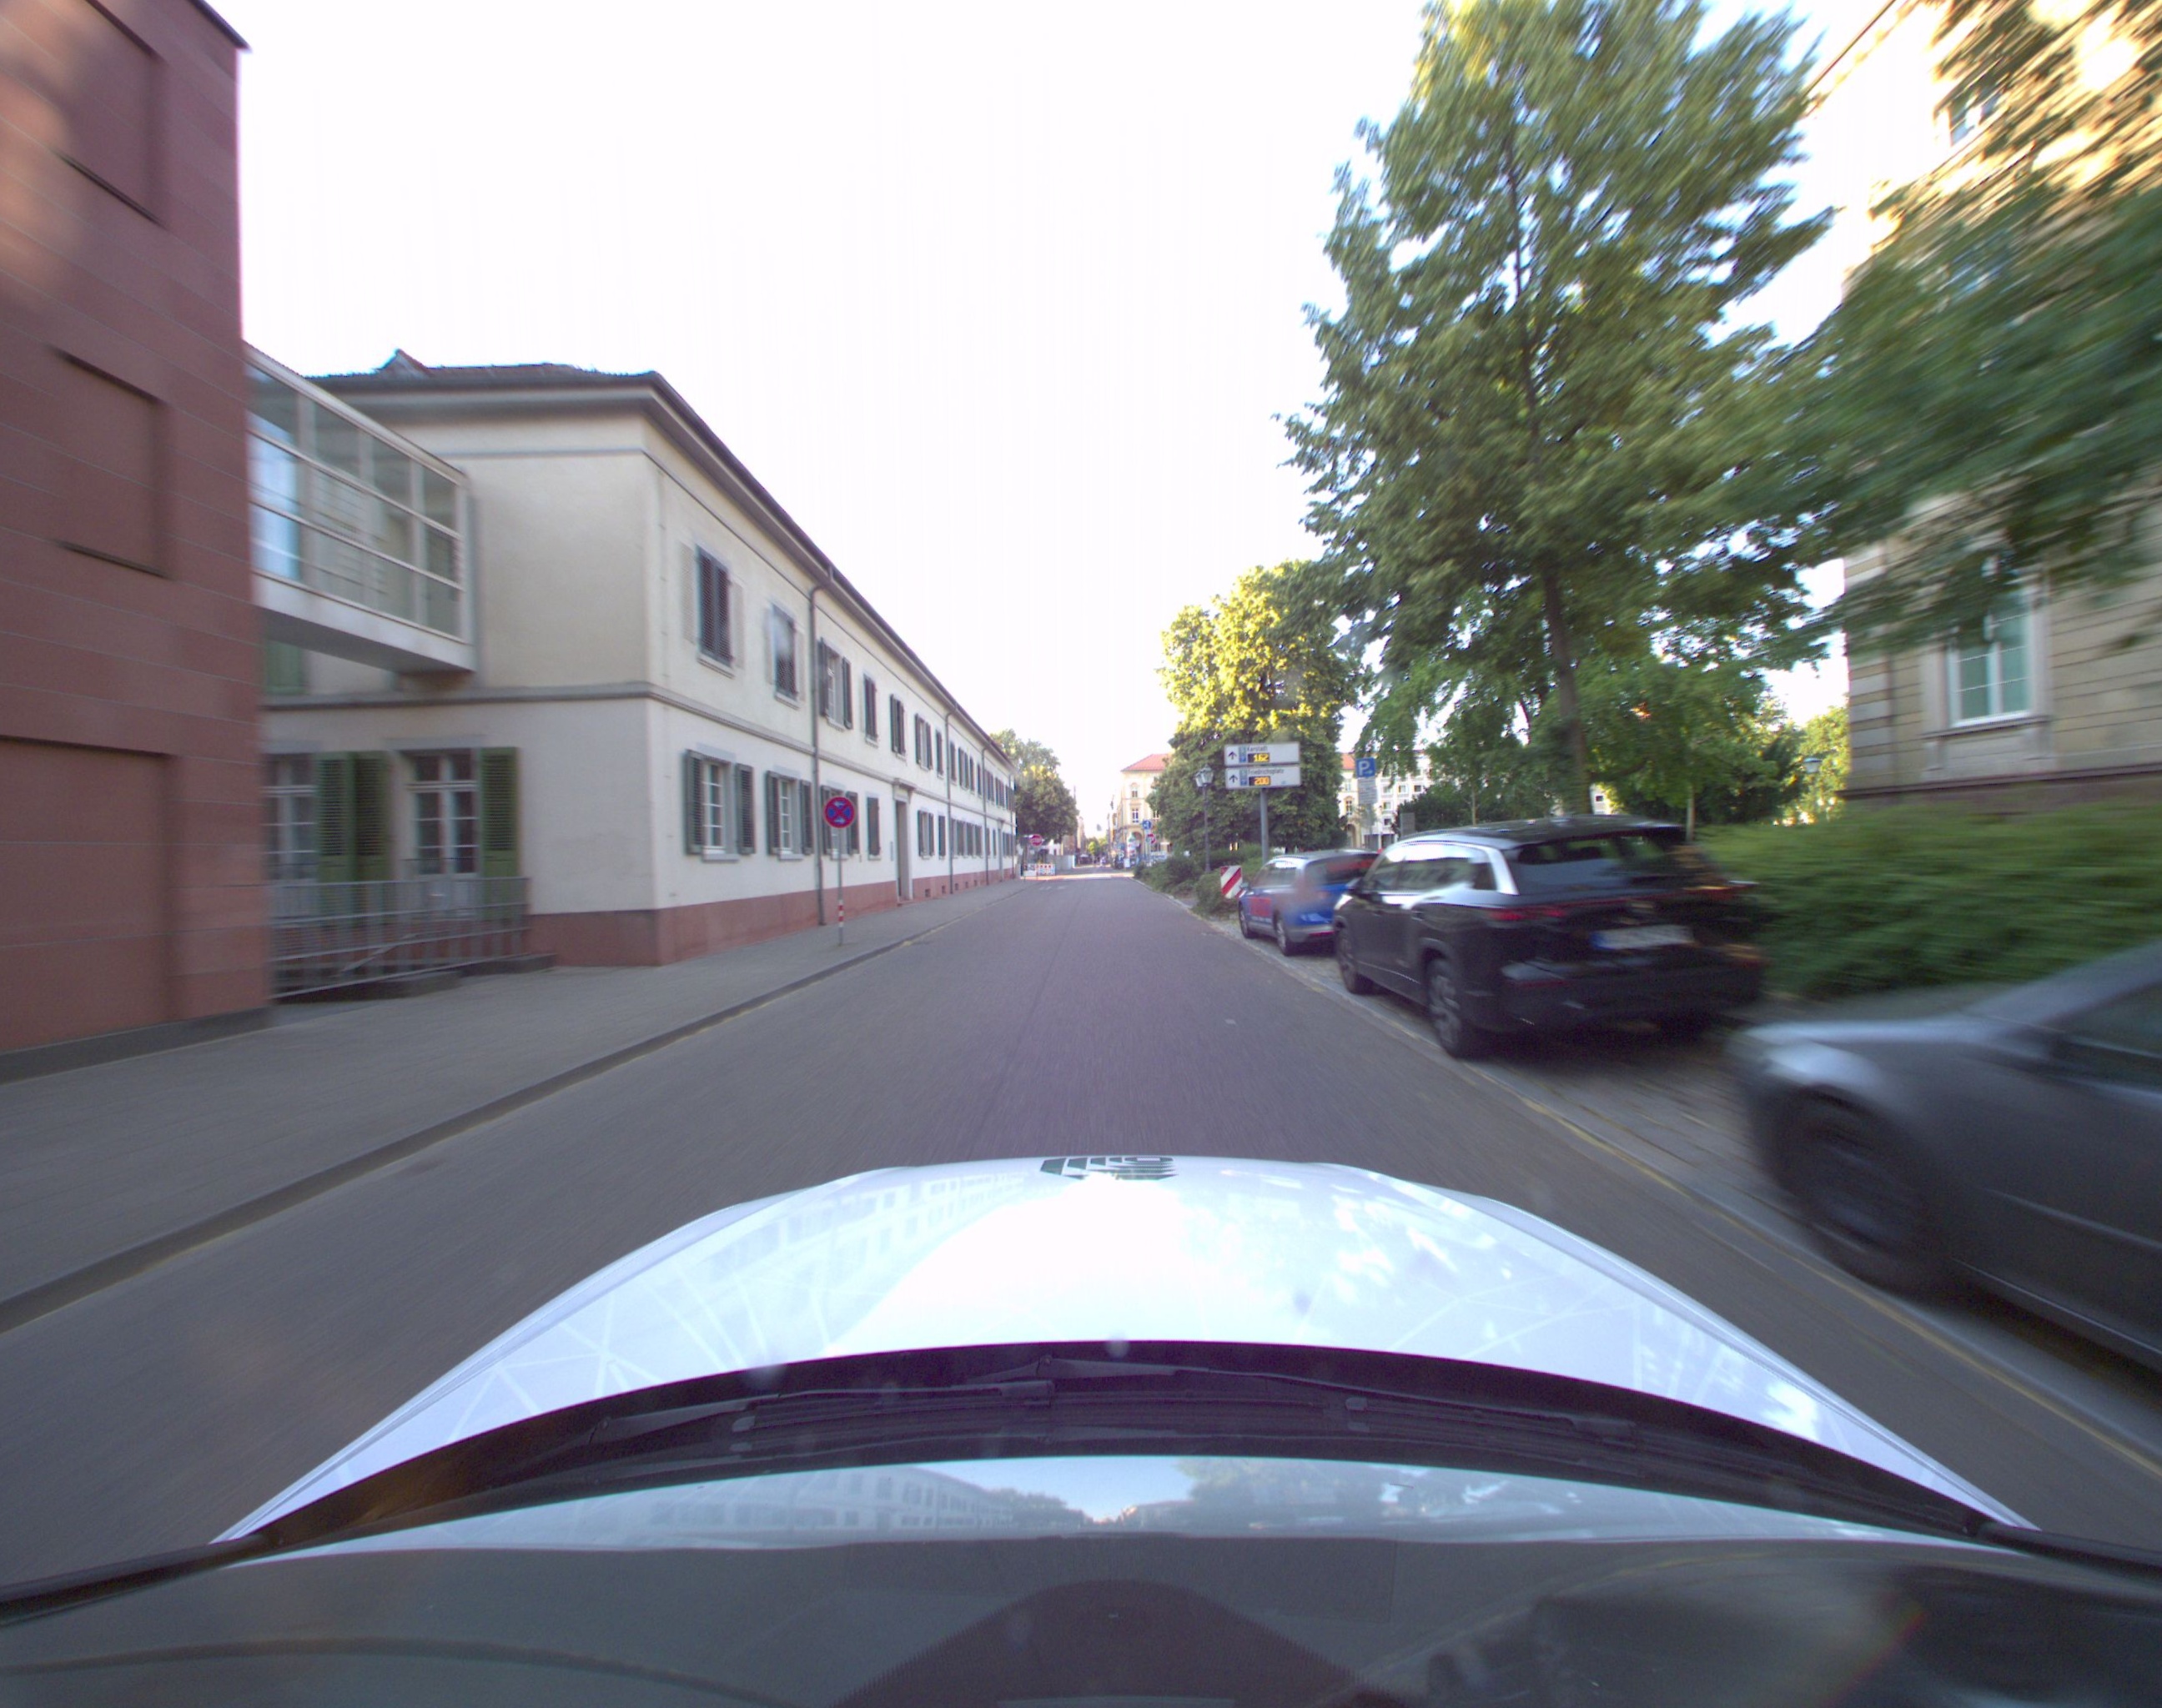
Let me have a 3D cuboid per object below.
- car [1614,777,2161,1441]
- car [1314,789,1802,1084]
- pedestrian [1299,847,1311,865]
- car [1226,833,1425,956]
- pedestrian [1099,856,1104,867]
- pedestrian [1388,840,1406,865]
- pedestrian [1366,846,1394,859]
[{"bbox_3d":[3.329,0.549,1.663,1.718,1.538,4.189,-3,-1,1],"label":"car"},{"bbox_3d":[3.461,0.517,7.140,1.716,1.651,4.718,-3,-1,4],"label":"car"},{"bbox_3d":[17.698,0.151,64.339,0.595,1.342,0.817,-2,-1,-5],"label":"pedestrian"},{"bbox_3d":[3.714,0.560,13.305,1.719,1.488,4.609,-6,0,0],"label":"car"},{"bbox_3d":[3.145,1.175,123.040,0.655,1.617,0.745,-3,0,1],"label":"pedestrian"},{"bbox_3d":[15.754,-0.064,40.577,0.656,1.191,0.800,-3,-1,29],"label":"pedestrian"},{"bbox_3d":[15.102,-0.073,41.162,0.541,0.549,1.369,-6,0,-18],"label":"pedestrian"}]
